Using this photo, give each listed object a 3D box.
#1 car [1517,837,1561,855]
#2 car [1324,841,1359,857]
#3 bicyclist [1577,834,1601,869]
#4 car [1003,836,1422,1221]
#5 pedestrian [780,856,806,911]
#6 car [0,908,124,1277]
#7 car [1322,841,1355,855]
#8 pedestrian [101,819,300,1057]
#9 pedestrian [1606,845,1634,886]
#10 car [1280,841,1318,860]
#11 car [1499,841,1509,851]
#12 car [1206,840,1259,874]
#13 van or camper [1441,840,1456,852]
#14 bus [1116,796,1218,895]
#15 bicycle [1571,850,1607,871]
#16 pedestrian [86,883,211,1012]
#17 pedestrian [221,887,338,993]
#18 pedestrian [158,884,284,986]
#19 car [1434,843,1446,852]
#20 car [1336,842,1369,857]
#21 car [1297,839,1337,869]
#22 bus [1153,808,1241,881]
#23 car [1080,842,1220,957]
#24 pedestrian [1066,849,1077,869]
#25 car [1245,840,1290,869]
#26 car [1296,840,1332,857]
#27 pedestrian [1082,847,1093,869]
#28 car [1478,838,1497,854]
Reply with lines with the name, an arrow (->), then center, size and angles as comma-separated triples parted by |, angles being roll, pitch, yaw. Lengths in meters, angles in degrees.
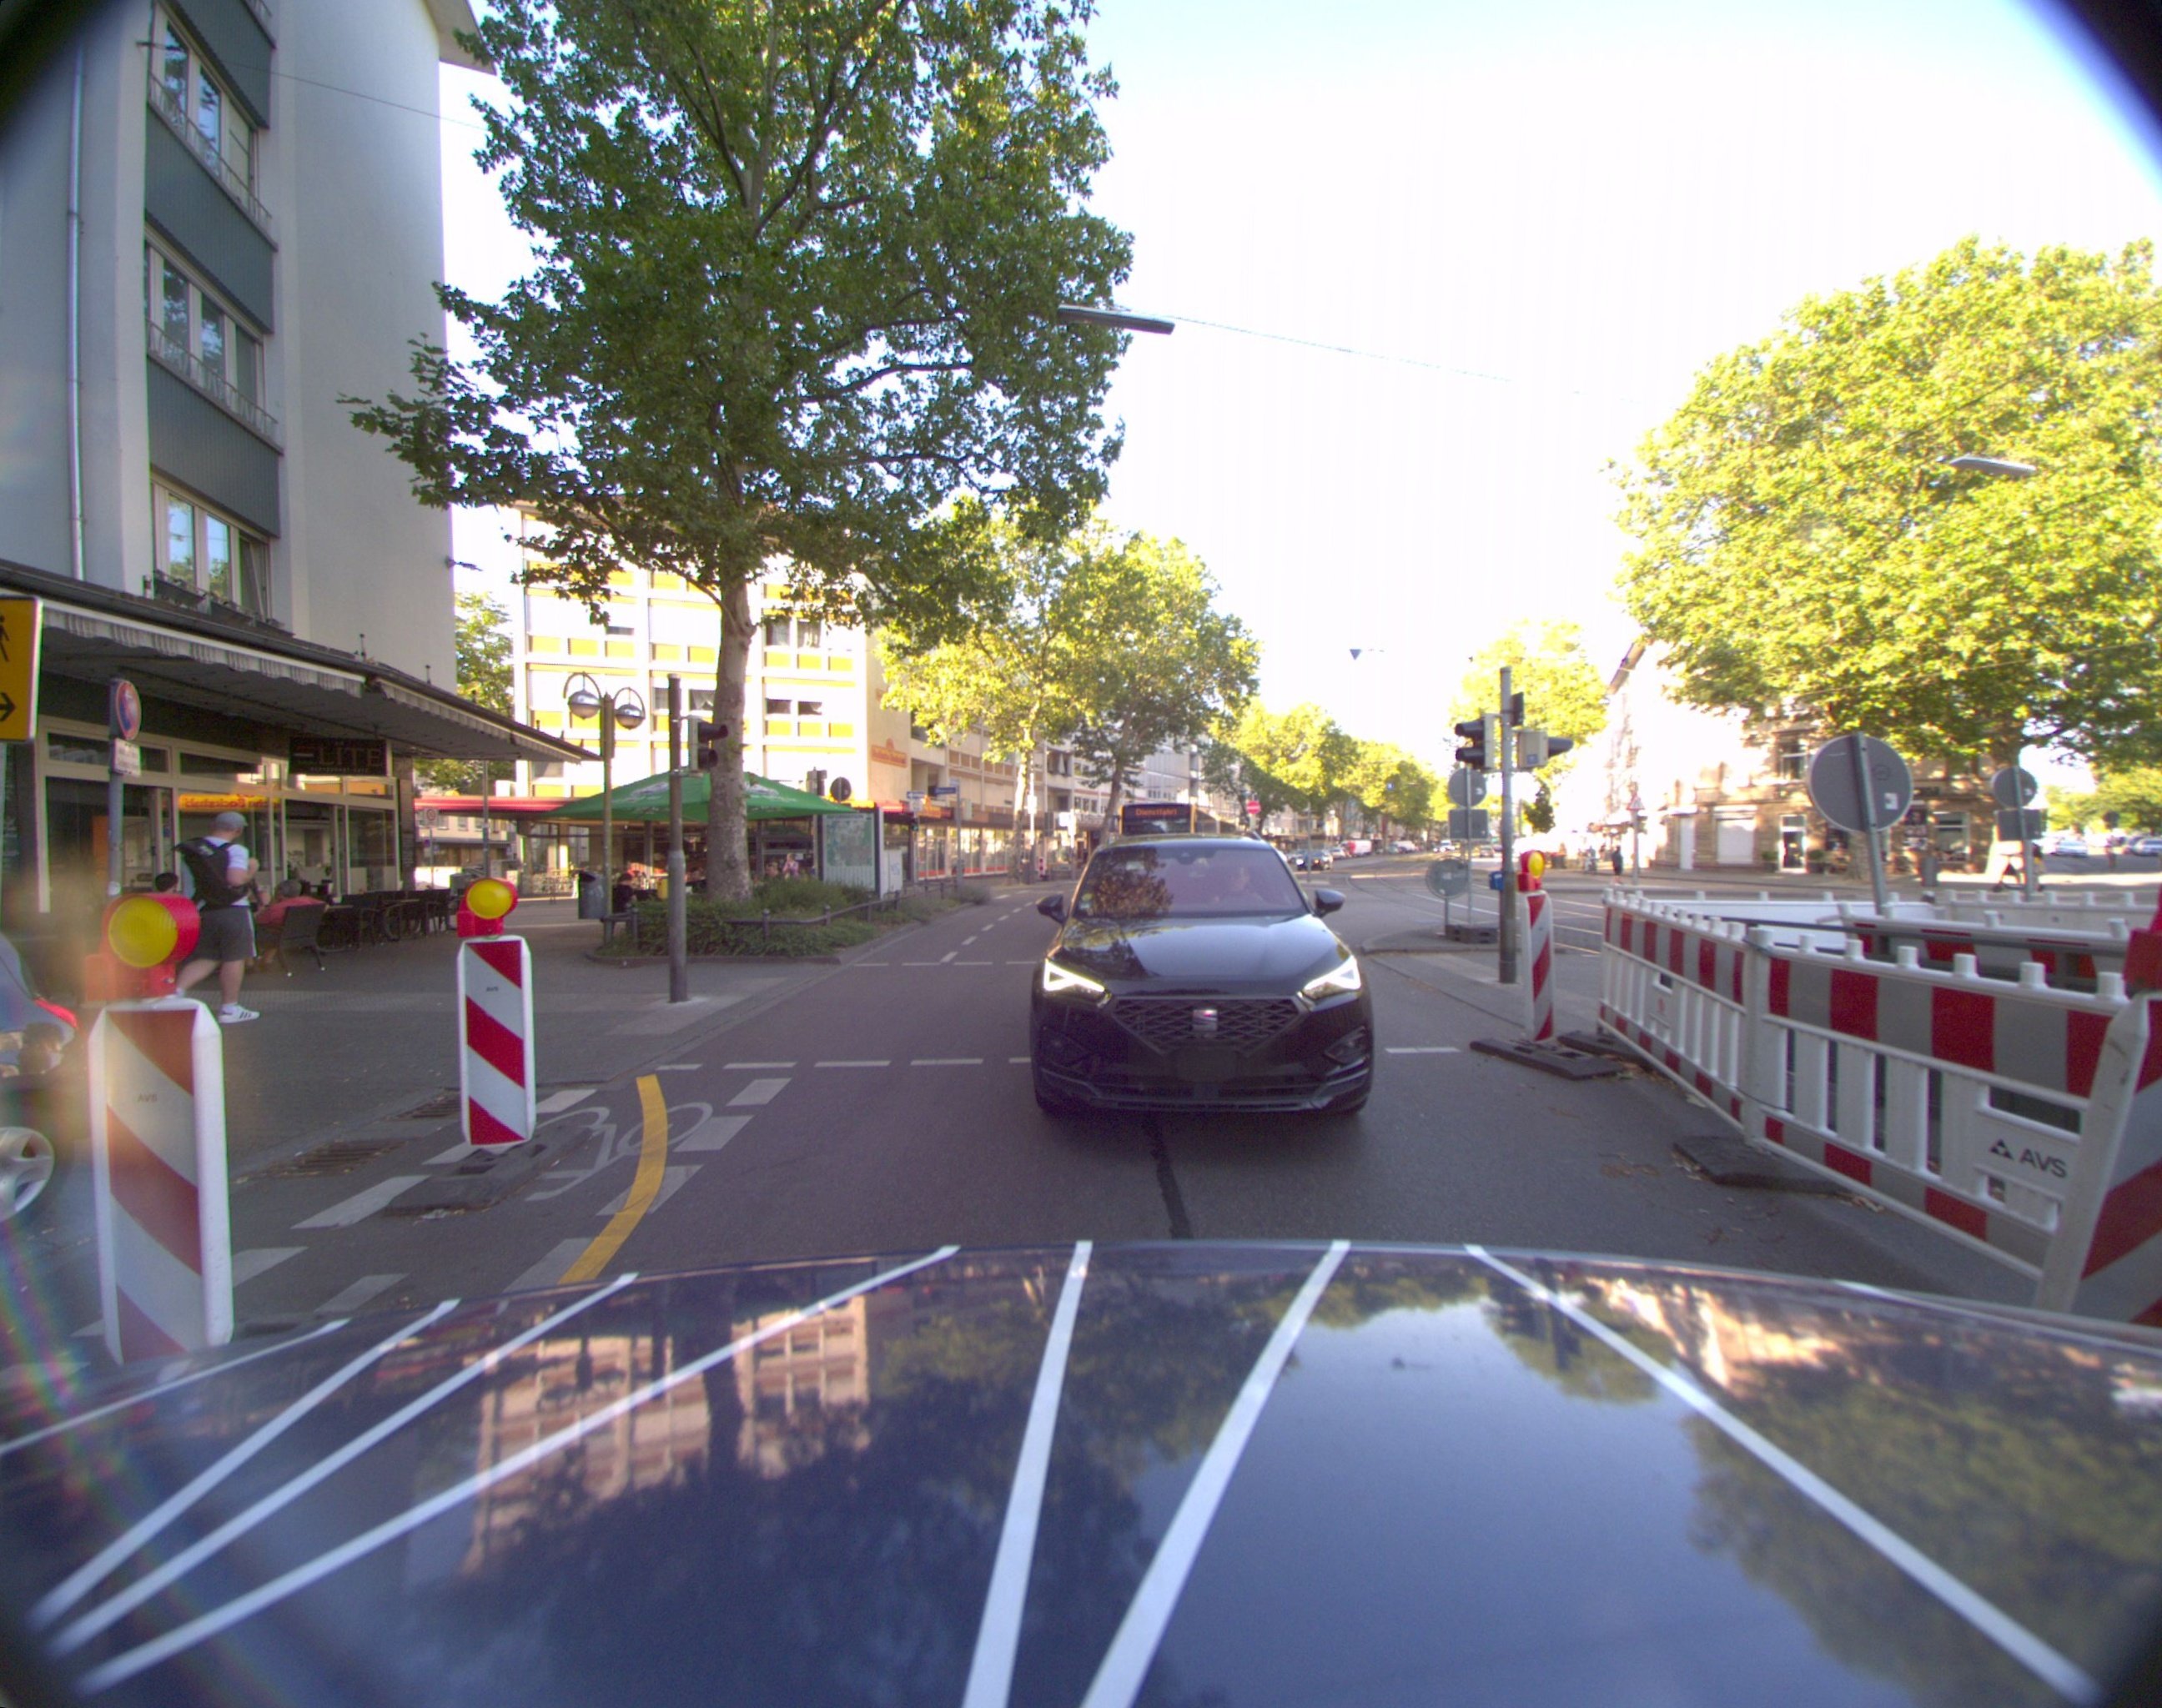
car -> 52.367, -0.969, 86.862 | 4.001, 2.002, 1.997 | -1, 1, -13
car -> 33.695, -0.681, 98.426 | 3.994, 2.002, 2.001 | -1, 1, 8
bicyclist -> 29.458, -0.141, 44.083 | 0.854, 2.002, 0.984 | 0, 1, 10
car -> 0.610, 0.757, 5.359 | 1.841, 1.696, 4.000 | -1, 1, 1
pedestrian -> -8.609, 0.869, 22.718 | 0.629, 1.628, 0.531 | -1, 1, -15
car -> -5.222, 0.977, 1.644 | 1.771, 1.459, 3.610 | 2, 0, -2
car -> 36.443, -0.855, 107.590 | 3.994, 2.002, 2.001 | -1, 1, 8
pedestrian -> -7.662, 0.683, 6.666 | 0.648, 1.948, 0.889 | -1, 1, 0
pedestrian -> 20.306, 0.425, 28.641 | 0.603, 1.524, 0.745 | 0, 1, 12
car -> 24.386, -0.397, 85.084 | 3.991, 2.002, 2.003 | 0, 1, 18
car -> 82.000, -1.537, 147.249 | 1.686, 1.841, 4.007 | 0, 1, 29
car -> 9.230, 0.146, 45.964 | 1.995, 2.002, 4.105 | 0, 1, 29
van or camper -> 83.883, -1.743, 173.303 | 2.420, 2.702, 6.144 | 0, 1, 32
bus -> 3.452, -0.292, 28.247 | 2.718, 3.088, 8.629 | 0, 1, 13
bicycle -> 29.475, 0.345, 44.130 | 0.850, 1.186, 2.467 | 0, 1, 10
pedestrian -> -10.233, 0.987, 8.346 | 0.789, 1.299, 0.701 | 0, 1, 28
pedestrian -> -9.794, 1.016, 9.300 | 0.877, 1.186, 0.701 | 0, 1, 24
pedestrian -> -10.798, 0.994, 9.568 | 0.647, 1.186, 0.792 | 0, 1, 7
car -> 72.762, -1.341, 154.058 | 1.836, 1.692, 4.138 | 0, 1, 31
car -> 36.926, -0.607, 103.408 | 3.994, 2.002, 2.001 | -1, 1, 8
car -> 16.560, -0.030, 53.213 | 1.995, 2.002, 4.007 | 0, 1, 27
bus -> 5.813, -0.439, 36.723 | 2.717, 3.088, 8.608 | 0, 1, 19
car -> 1.017, 0.639, 12.944 | 1.998, 1.634, 4.075 | -1, 1, 1
pedestrian -> -0.698, 0.358, 55.601 | 0.627, 1.429, 0.532 | 0, 1, 20
car -> 13.522, 0.018, 54.936 | 1.994, 2.002, 4.008 | 0, 1, 33
car -> 28.321, -0.695, 92.402 | 3.994, 2.002, 2.001 | -1, 1, 8
pedestrian -> 0.482, 0.271, 55.492 | 0.627, 1.577, 0.532 | 0, 1, 20
car -> 51.742, -0.979, 96.669 | 1.994, 2.002, 4.007 | 0, 1, 29
